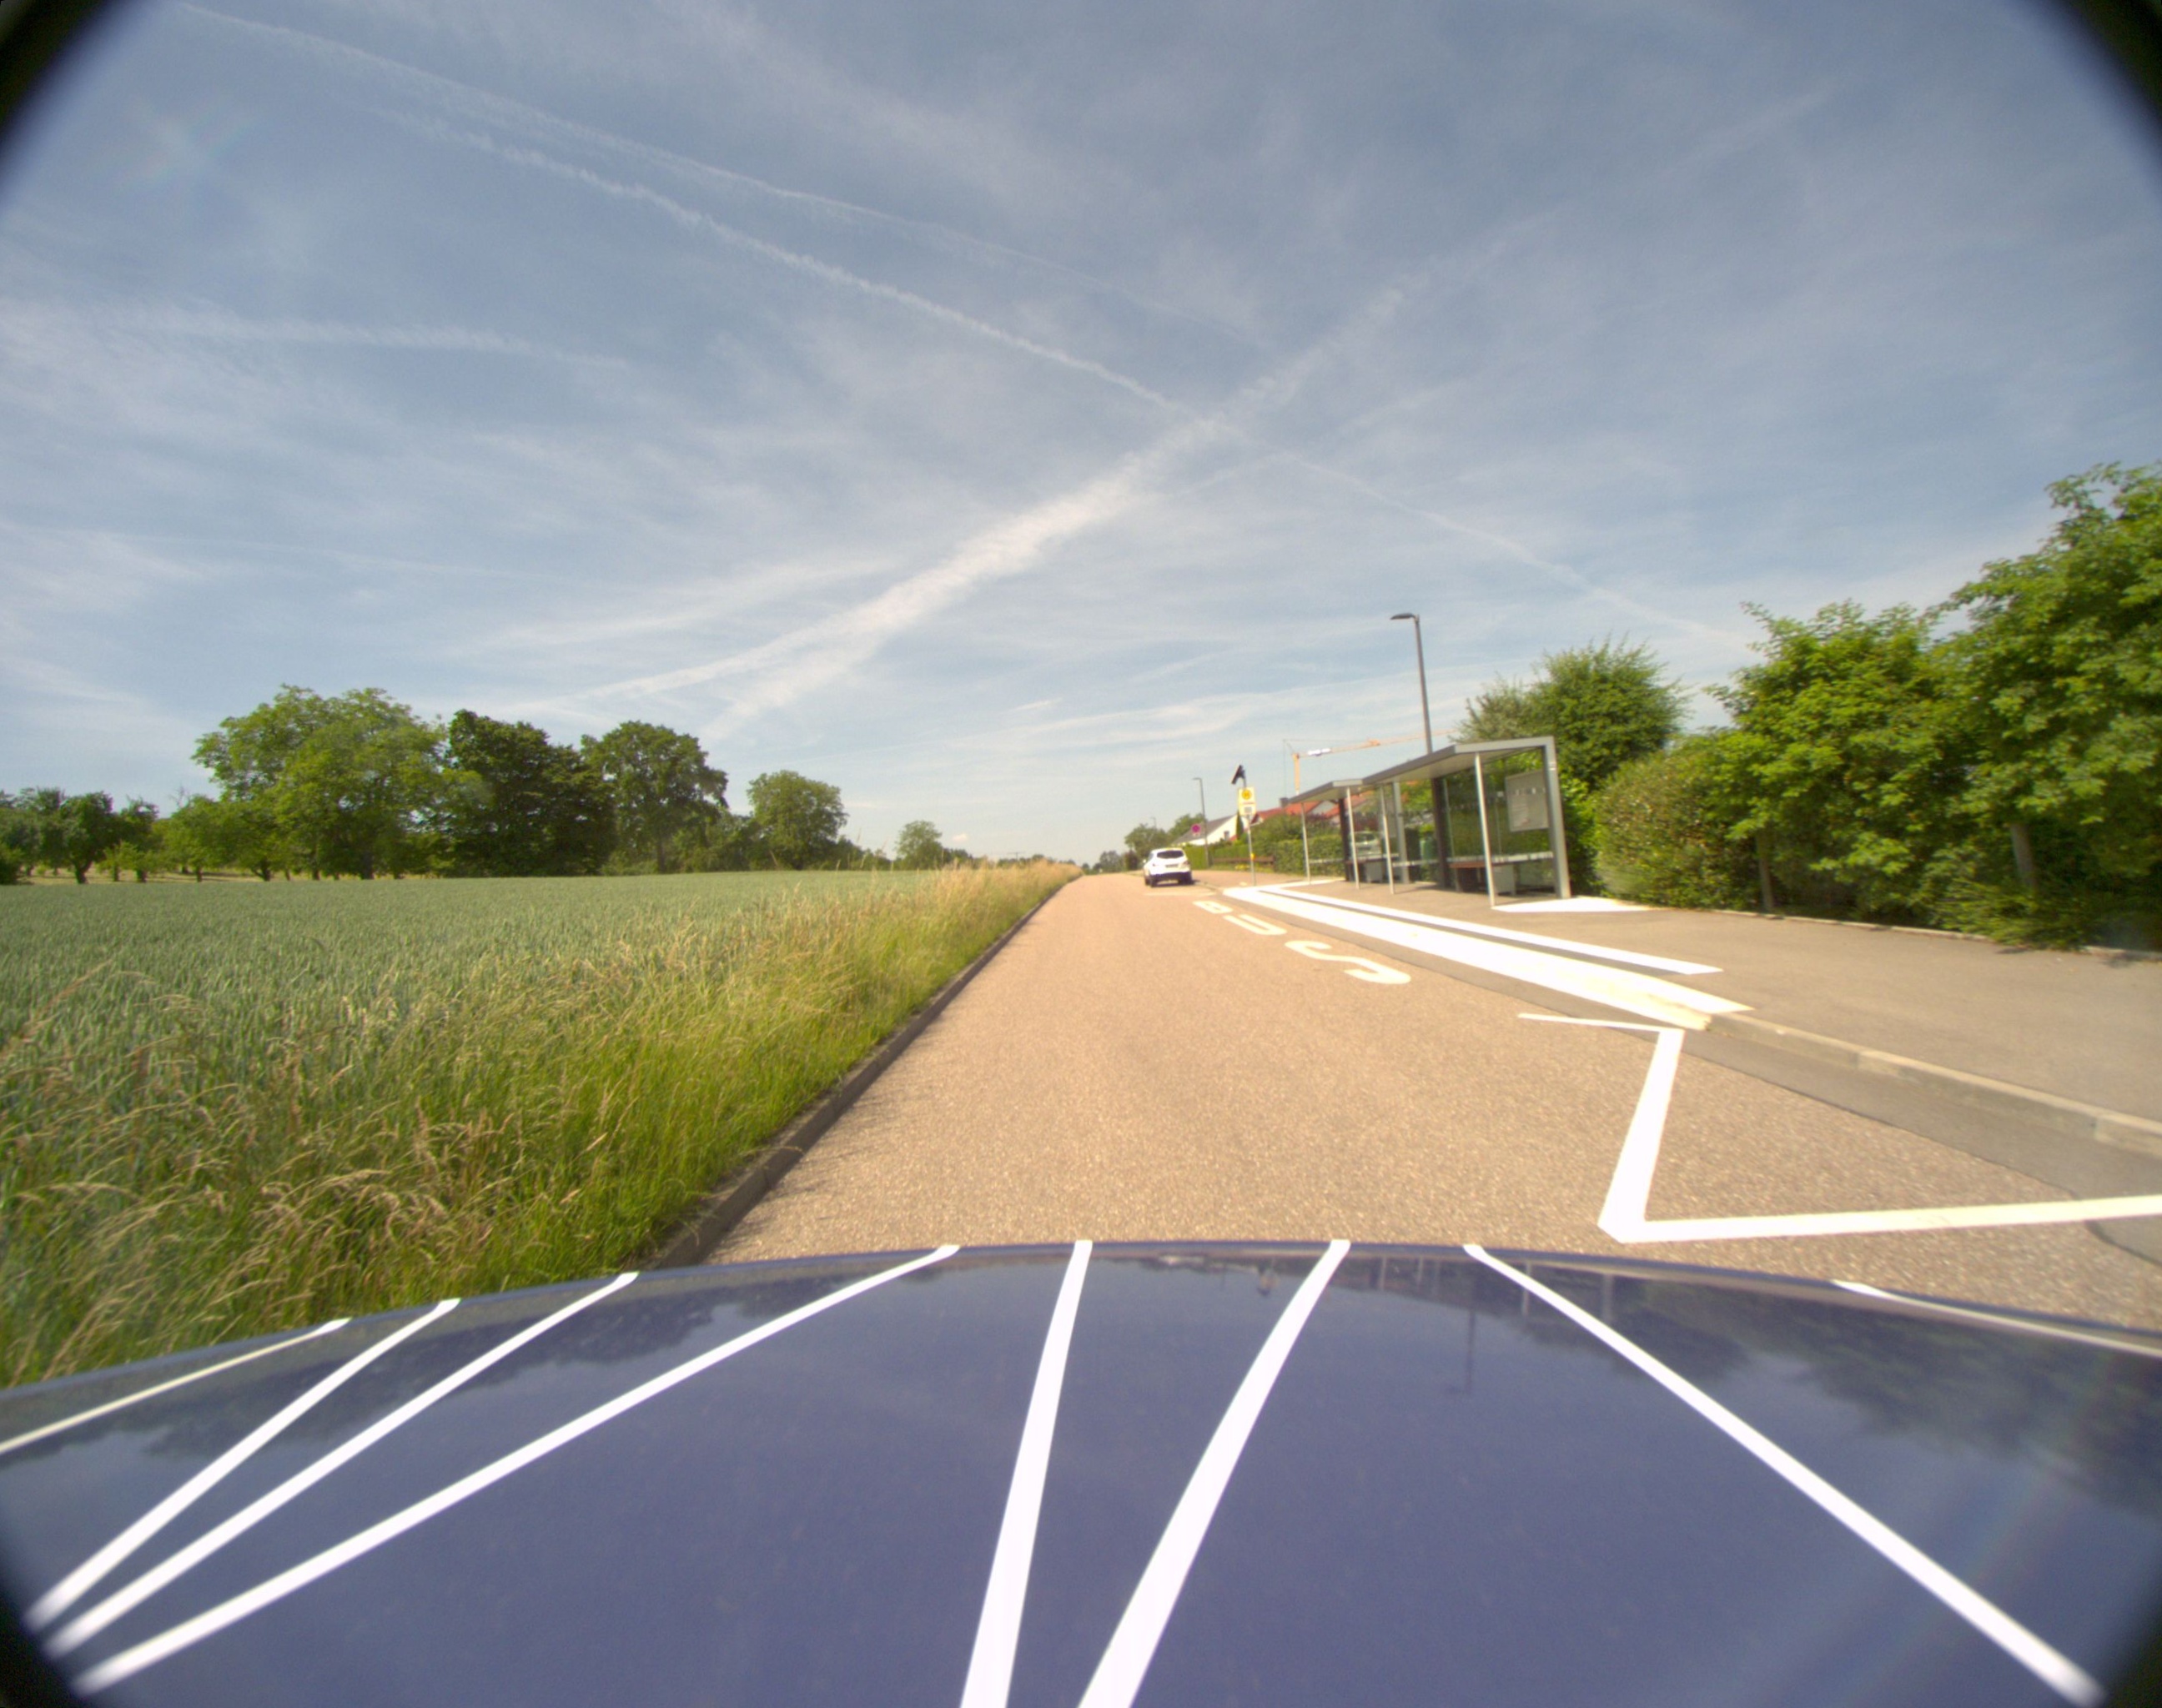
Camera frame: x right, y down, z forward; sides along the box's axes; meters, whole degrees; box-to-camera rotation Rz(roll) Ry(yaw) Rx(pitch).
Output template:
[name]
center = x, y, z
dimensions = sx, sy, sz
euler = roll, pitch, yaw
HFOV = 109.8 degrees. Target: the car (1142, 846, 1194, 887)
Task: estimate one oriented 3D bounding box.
[car]
center = 3.846, 0.543, 34.193
dimensions = 1.738, 1.623, 4.352
euler = -4, 0, 0
